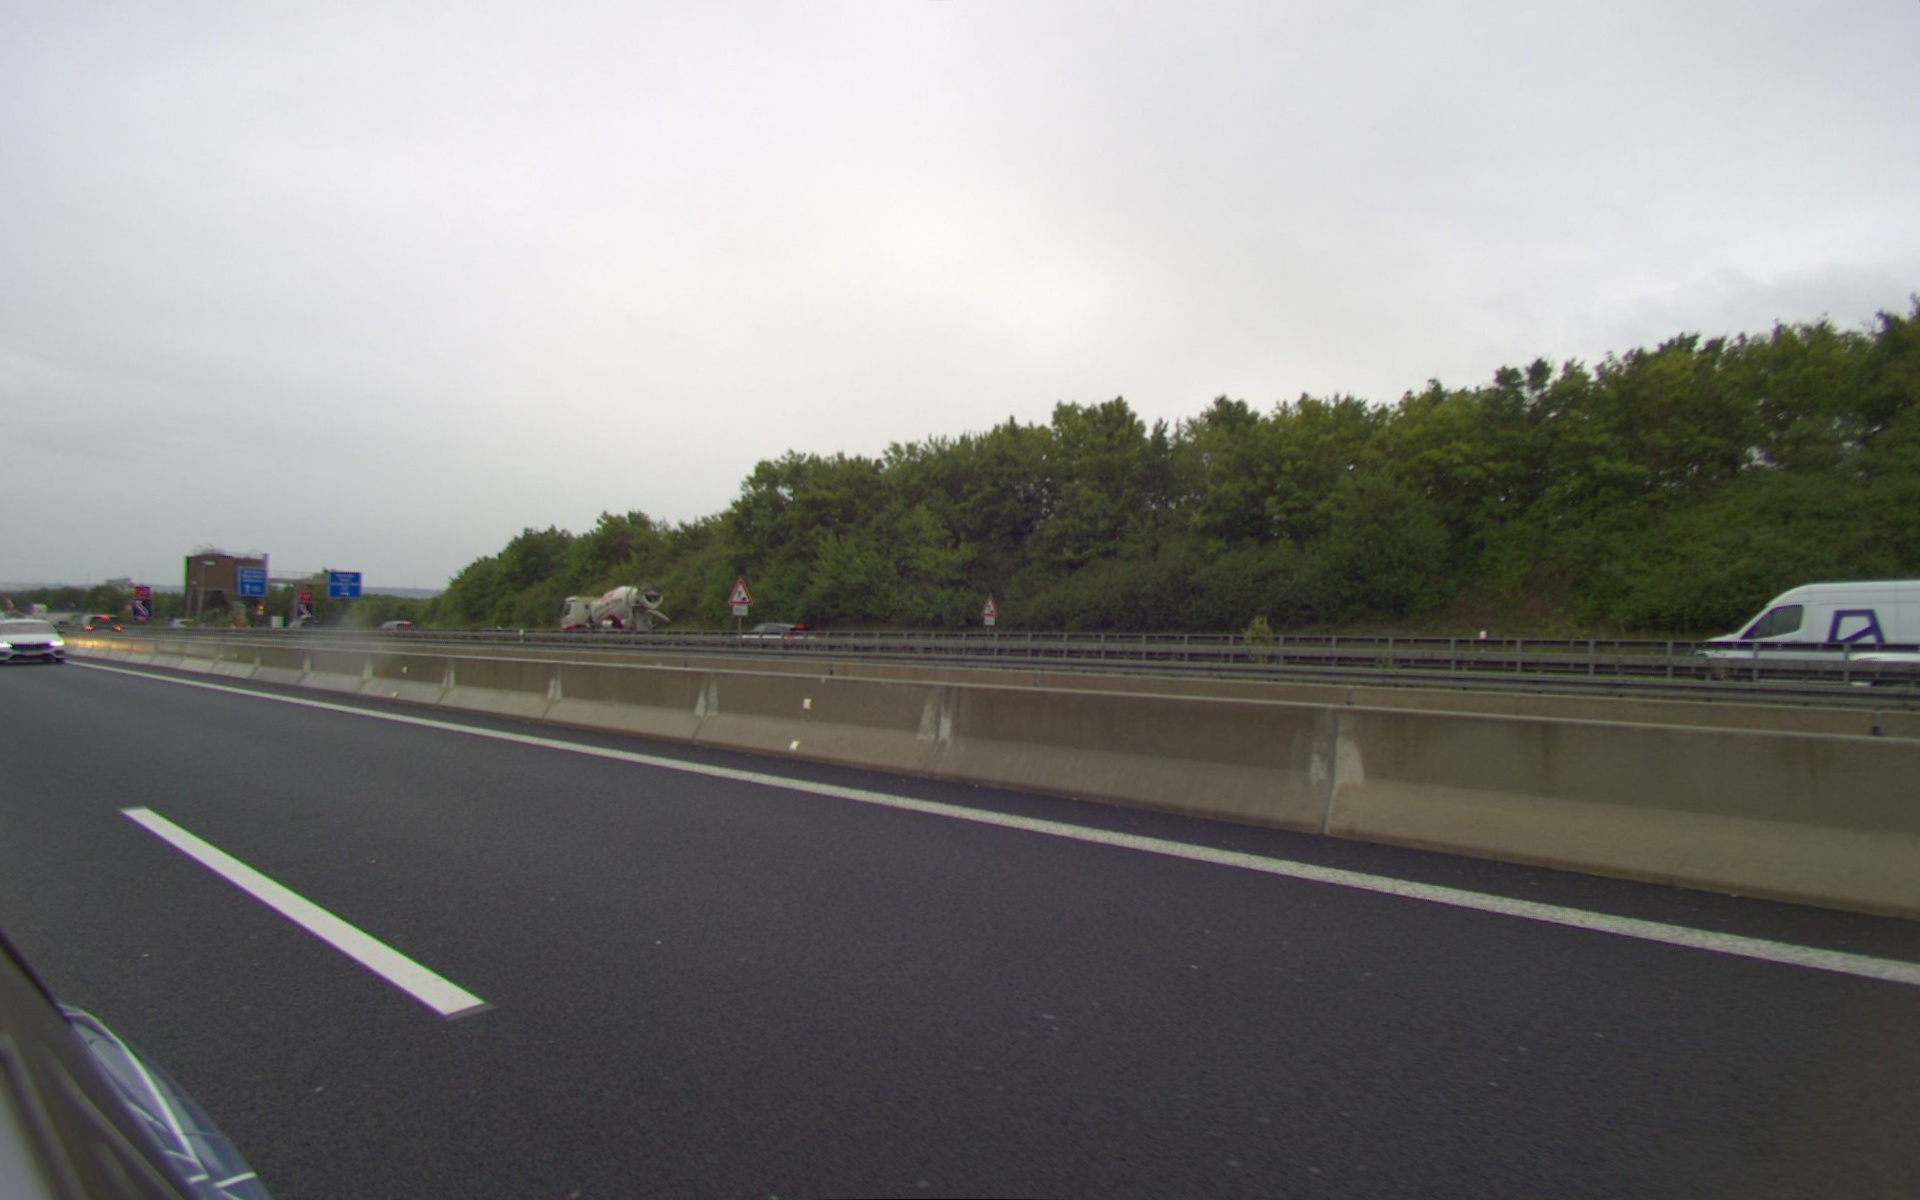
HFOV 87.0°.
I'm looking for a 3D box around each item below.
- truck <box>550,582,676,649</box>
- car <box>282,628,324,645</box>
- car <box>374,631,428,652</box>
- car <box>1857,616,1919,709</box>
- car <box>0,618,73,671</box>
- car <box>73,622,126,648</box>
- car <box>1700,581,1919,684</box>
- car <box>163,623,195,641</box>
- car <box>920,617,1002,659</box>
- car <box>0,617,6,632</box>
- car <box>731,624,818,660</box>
[{"bbox_3d":[-20.775,0.942,60.189,9.552,3.689,2.657,-1,-2,41],"label":"truck"},{"bbox_3d":[-58.031,3.232,89.349,4.675,1.417,1.972,-1,-2,42],"label":"car"},{"bbox_3d":[-39.716,2.945,71.881,4.675,1.417,1.972,-1,-2,42],"label":"car"},{"bbox_3d":[19.824,1.177,18.854,4.579,1.750,1.973,-1,-2,41],"label":"car"},{"bbox_3d":[-30.903,1.415,33.231,4.812,1.603,1.973,-2,-1,40],"label":"car"},{"bbox_3d":[-58.911,2.406,69.253,5.023,1.663,1.973,-1,0,40],"label":"car"},{"bbox_3d":[20.624,0.733,23.218,5.712,2.230,1.973,-1,-2,41],"label":"car"},{"bbox_3d":[-90.128,3.700,116.753,4.712,2.029,1.973,-1,-1,40],"label":"car"},{"bbox_3d":[0.012,1.880,50.646,3.999,2.029,1.731,-1,-2,42],"label":"car"},{"bbox_3d":[-109.541,2.733,114.147,5.906,1.706,2.332,-1,-2,42],"label":"car"},{"bbox_3d":[-7.927,1.745,43.083,3.917,1.436,1.572,-1,-1,42],"label":"car"}]
